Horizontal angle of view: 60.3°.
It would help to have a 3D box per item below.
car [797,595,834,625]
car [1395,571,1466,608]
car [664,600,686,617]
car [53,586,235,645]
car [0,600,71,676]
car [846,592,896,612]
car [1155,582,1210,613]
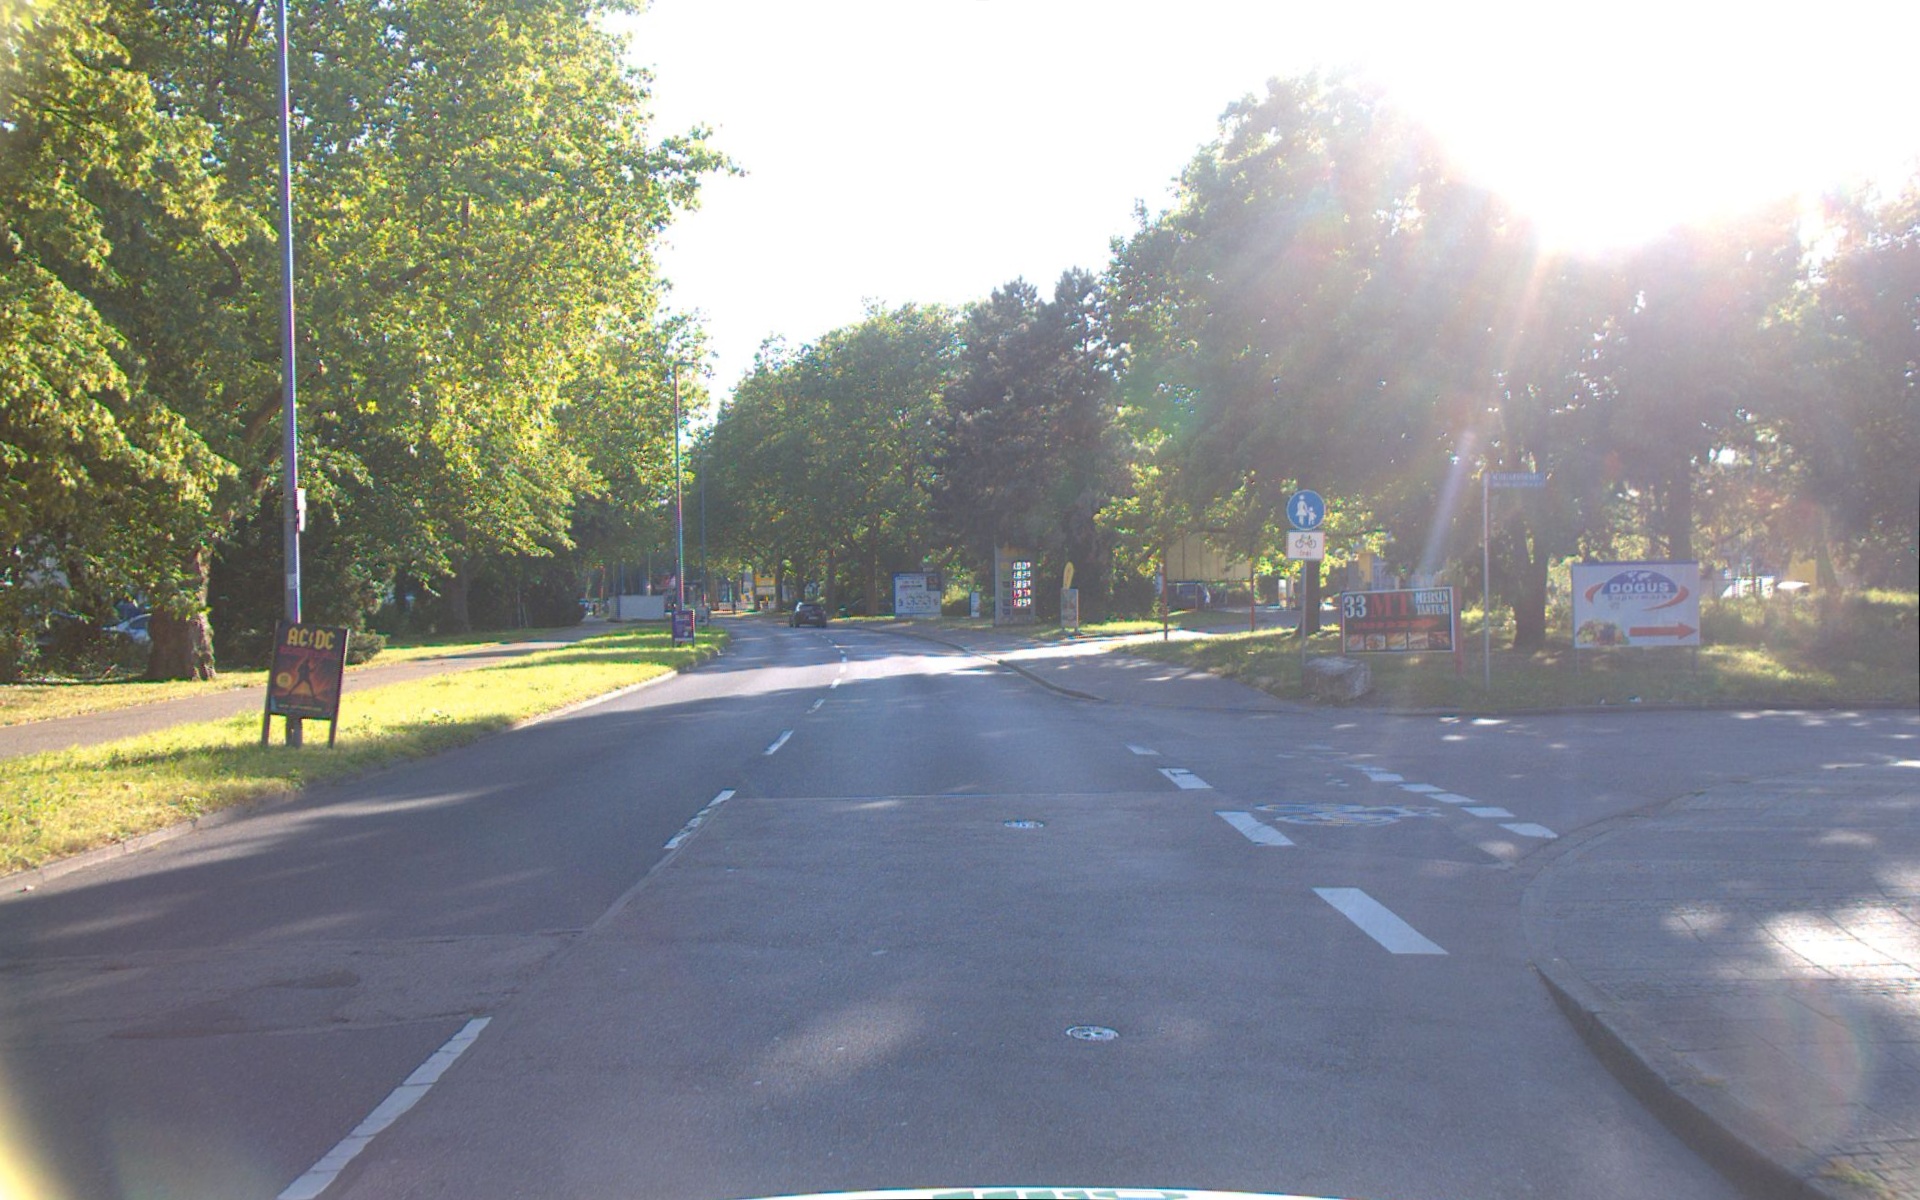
[{"bbox_3d":[-8.256,0.542,94.717,1.802,1.633,3.862,-1,0,-1],"label":"car"},{"bbox_3d":[23.564,-0.521,82.992,1.778,1.758,4.390,-2,0,-8],"label":"car"},{"bbox_3d":[-36.453,1.103,211.490,1.952,2.049,4.001,-1,0,2],"label":"car"},{"bbox_3d":[-21.626,0.407,43.974,3.912,1.534,1.909,0,0,-9],"label":"car"},{"bbox_3d":[-22.080,0.864,36.317,4.049,1.624,1.949,-2,0,-10],"label":"car"},{"bbox_3d":[-7.361,0.180,136.872,3.917,1.468,1.755,-2,0,-12],"label":"car"},{"bbox_3d":[10.885,-0.150,80.969,1.805,1.445,3.996,-1,0,-5],"label":"car"}]
